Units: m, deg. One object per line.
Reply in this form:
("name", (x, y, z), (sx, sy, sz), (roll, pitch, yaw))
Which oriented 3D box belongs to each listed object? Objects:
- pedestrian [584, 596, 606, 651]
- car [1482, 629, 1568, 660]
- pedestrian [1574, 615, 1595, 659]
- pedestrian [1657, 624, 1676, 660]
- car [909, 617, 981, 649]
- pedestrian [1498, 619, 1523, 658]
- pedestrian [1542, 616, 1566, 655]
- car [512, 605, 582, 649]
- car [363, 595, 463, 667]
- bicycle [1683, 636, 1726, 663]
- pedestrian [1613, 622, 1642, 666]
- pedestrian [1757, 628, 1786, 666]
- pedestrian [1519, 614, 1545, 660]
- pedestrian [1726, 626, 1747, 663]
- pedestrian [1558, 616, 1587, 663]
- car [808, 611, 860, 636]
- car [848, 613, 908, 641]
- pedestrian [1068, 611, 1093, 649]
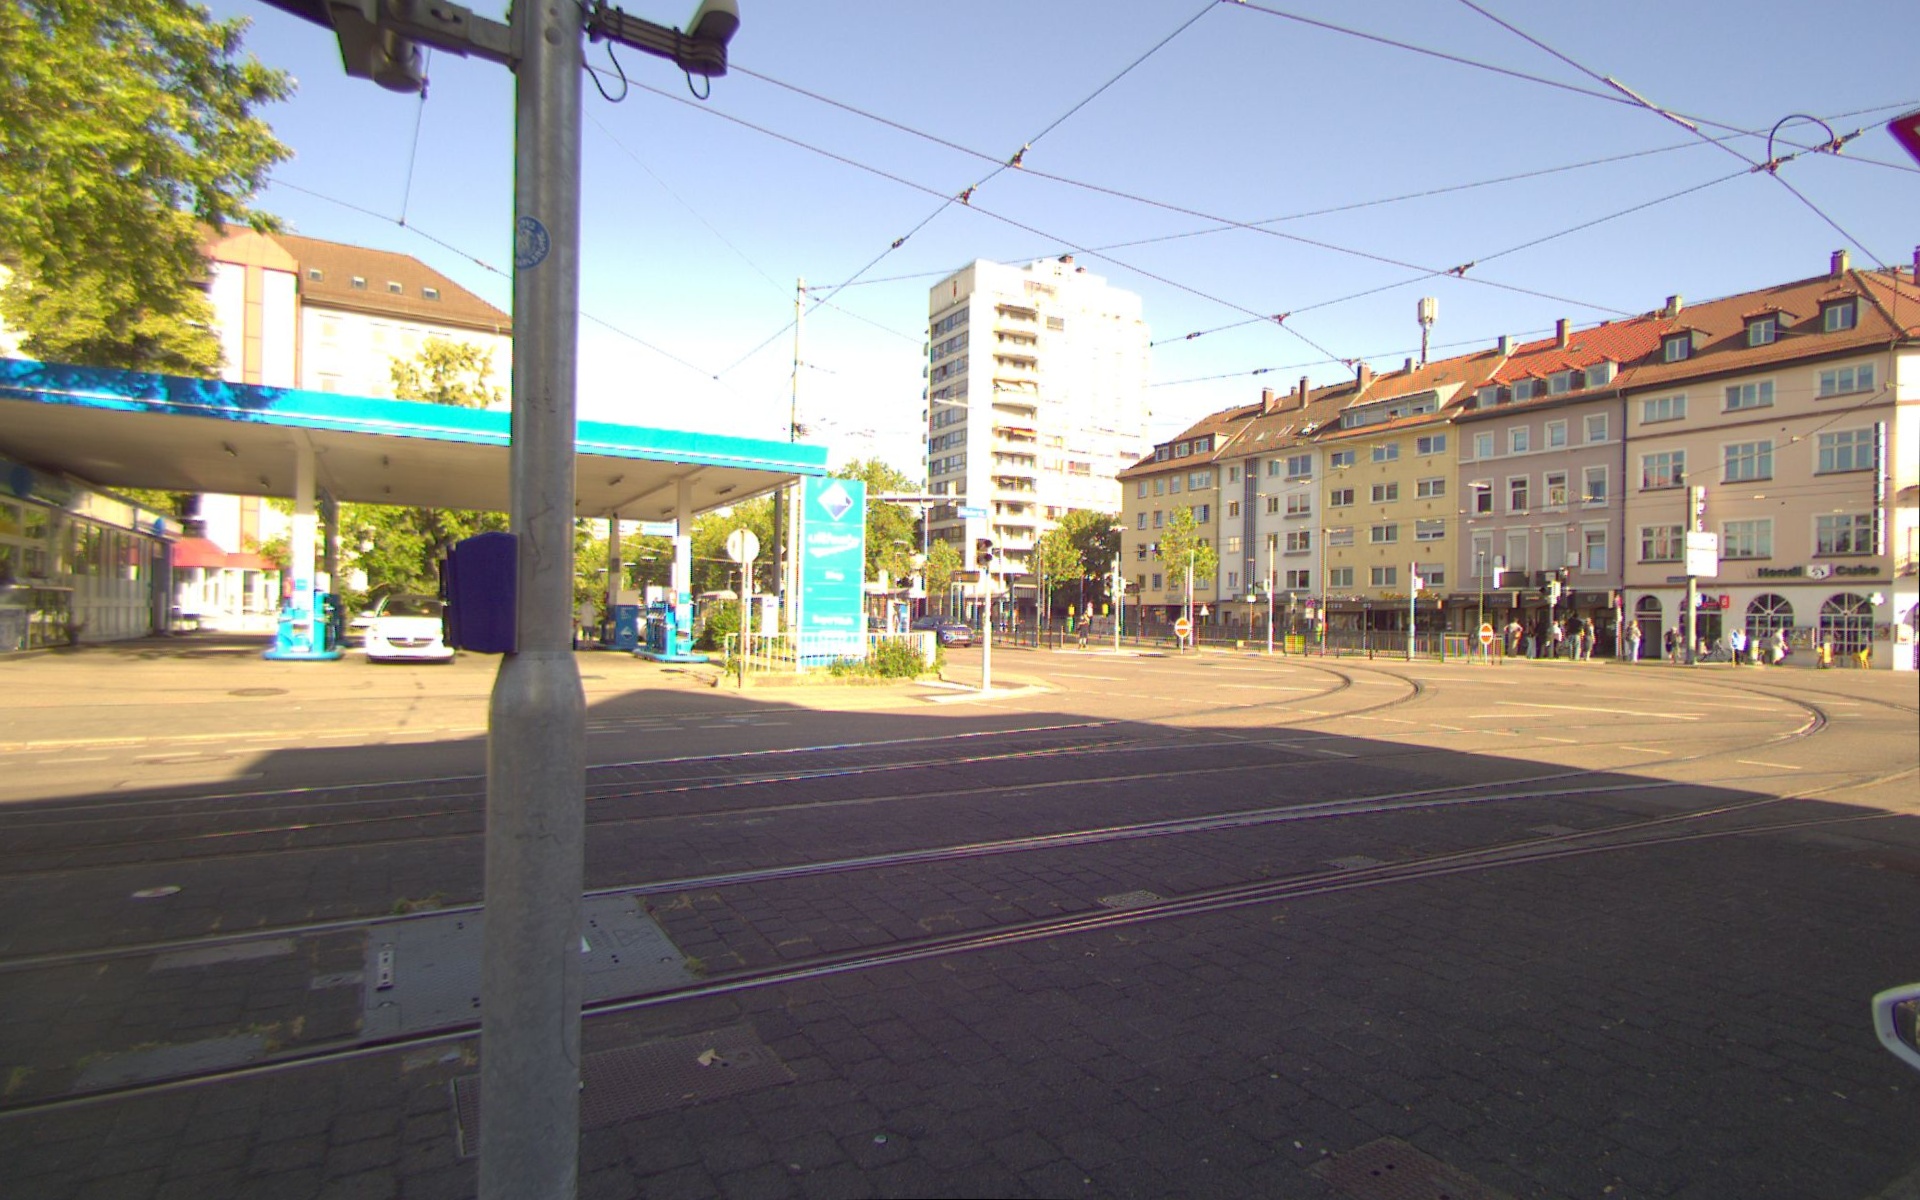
("pedestrian", (-11.649, 0.749, 32.059), (0.579, 1.715, 0.756), (1, -1, -25))
("car", (30.750, 2.402, 54.783), (1.795, 1.511, 3.715), (2, 0, -27))
("pedestrian", (25.564, 1.506, 41.144), (0.554, 1.810, 0.556), (1, -1, -35))
("pedestrian", (33.909, 2.027, 48.184), (0.731, 1.704, 0.626), (0, -1, 35))
("car", (-0.767, 1.533, 47.874), (1.697, 1.439, 4.149), (1, -1, -28))
("pedestrian", (24.189, 1.682, 44.157), (0.621, 1.704, 0.763), (1, -1, -30))
("pedestrian", (25.042, 1.496, 42.348), (0.554, 1.602, 0.694), (1, -1, -35))
("car", (-13.570, 0.854, 32.882), (1.697, 1.360, 3.970), (1, -1, -28))
("car", (-12.349, 0.668, 22.561), (1.793, 1.461, 3.966), (1, -1, -31))
("bicycle", (37.505, 2.474, 50.600), (1.693, 1.293, 0.385), (0, -1, 44))
("pedestrian", (26.477, 1.748, 39.835), (0.621, 1.704, 0.737), (1, -1, -30))
("pedestrian", (37.782, 2.175, 46.759), (0.736, 1.704, 0.902), (1, -1, -35))
("pedestrian", (23.775, 1.529, 41.735), (0.769, 1.874, 0.625), (1, -1, -30))
("pedestrian", (36.363, 2.093, 47.056), (0.731, 1.704, 0.626), (0, -1, 35))
("pedestrian", (24.712, 1.579, 40.541), (0.714, 1.853, 0.763), (1, -1, -30))
("car", (-7.608, 1.400, 60.319), (1.697, 1.439, 4.149), (1, -1, -28))
("car", (-4.480, 1.446, 54.309), (1.697, 1.439, 4.149), (1, -1, -28))
("pedestrian", (5.264, 1.304, 43.970), (0.788, 1.632, 0.766), (1, -1, -36))
